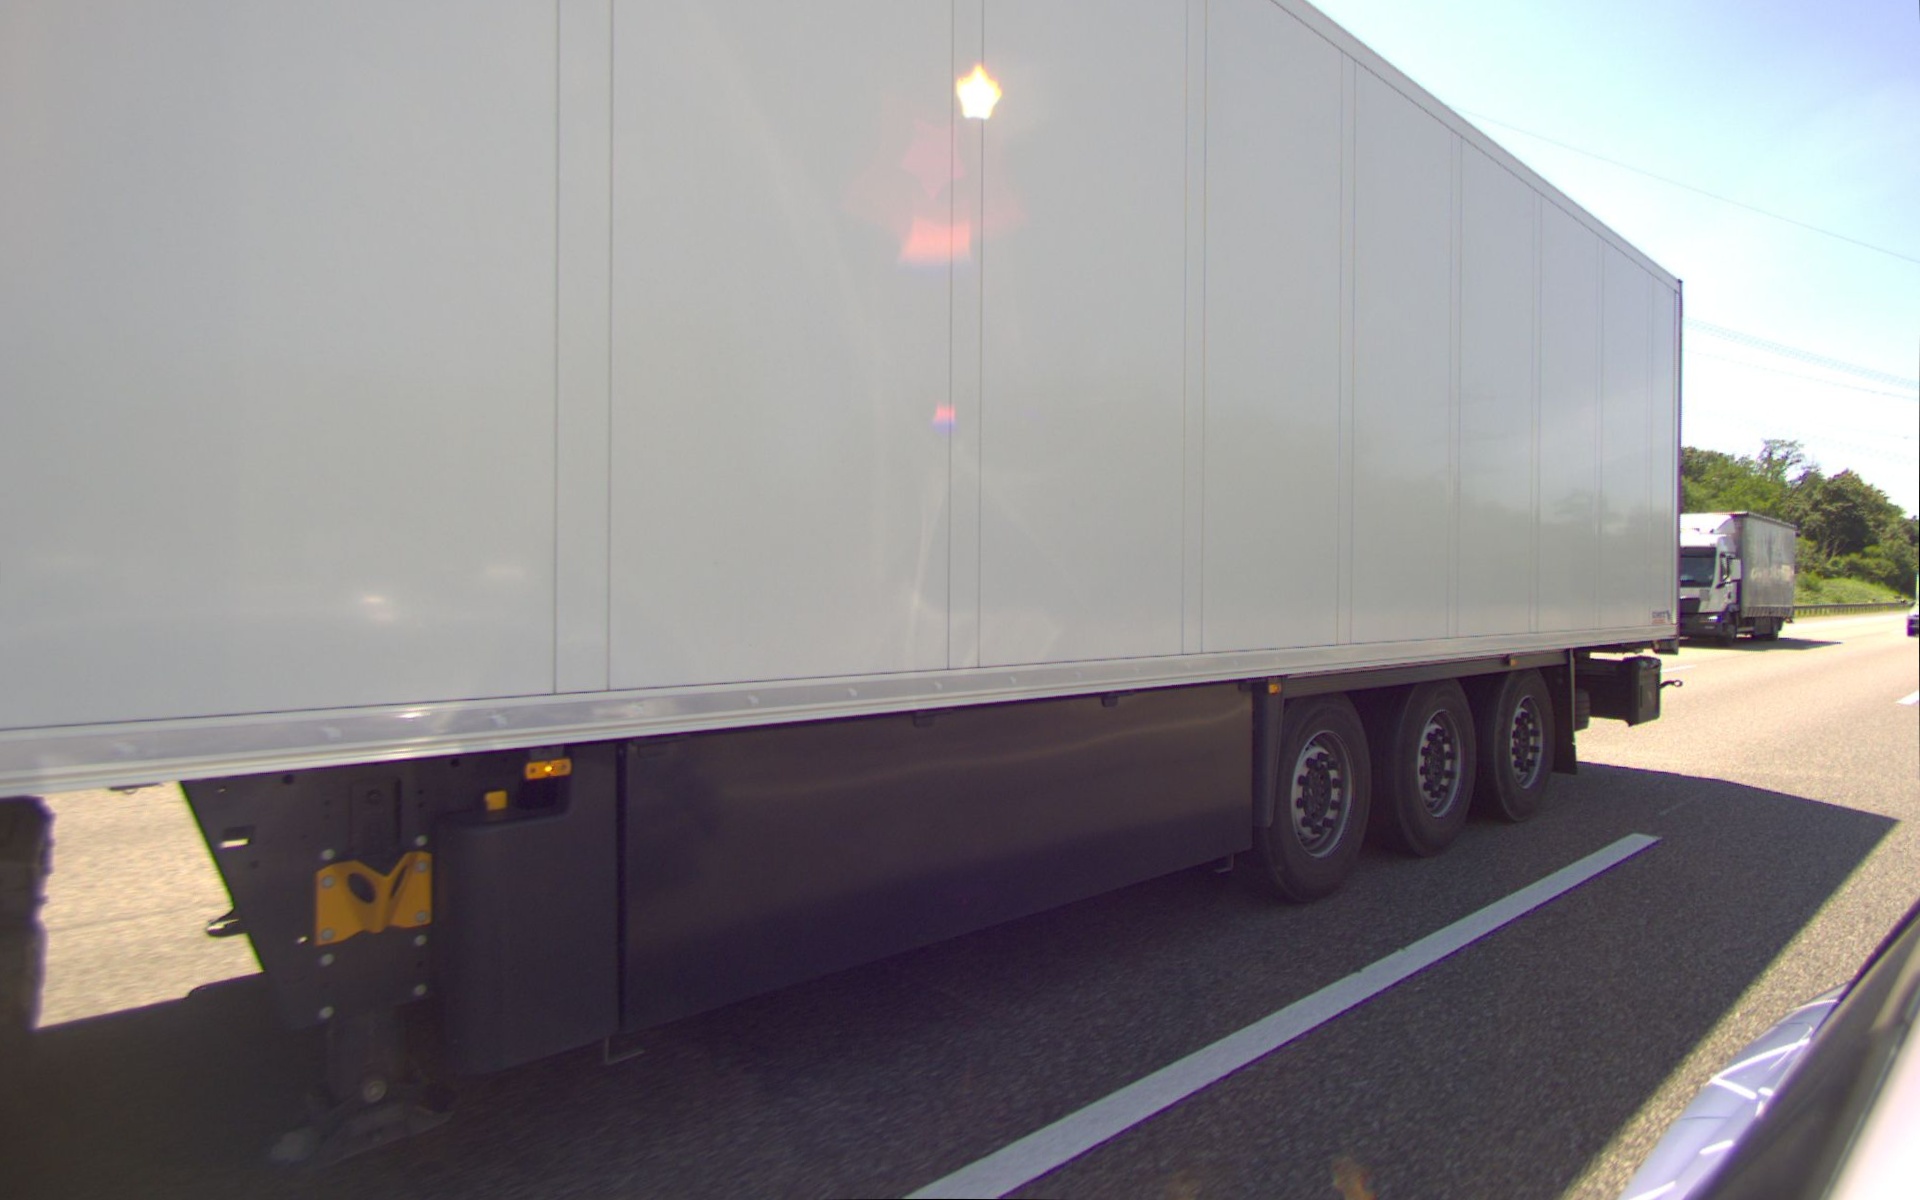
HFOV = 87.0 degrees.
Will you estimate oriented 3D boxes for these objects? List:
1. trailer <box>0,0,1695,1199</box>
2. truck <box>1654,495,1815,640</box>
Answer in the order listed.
[{"bbox_3d":[-0.978,-0.591,4.048,15.919,4.068,2.942,-1,1,-41],"label":"trailer"},{"bbox_3d":[23.705,-0.889,30.720,9.868,3.819,1.985,0,1,-41],"label":"truck"}]
